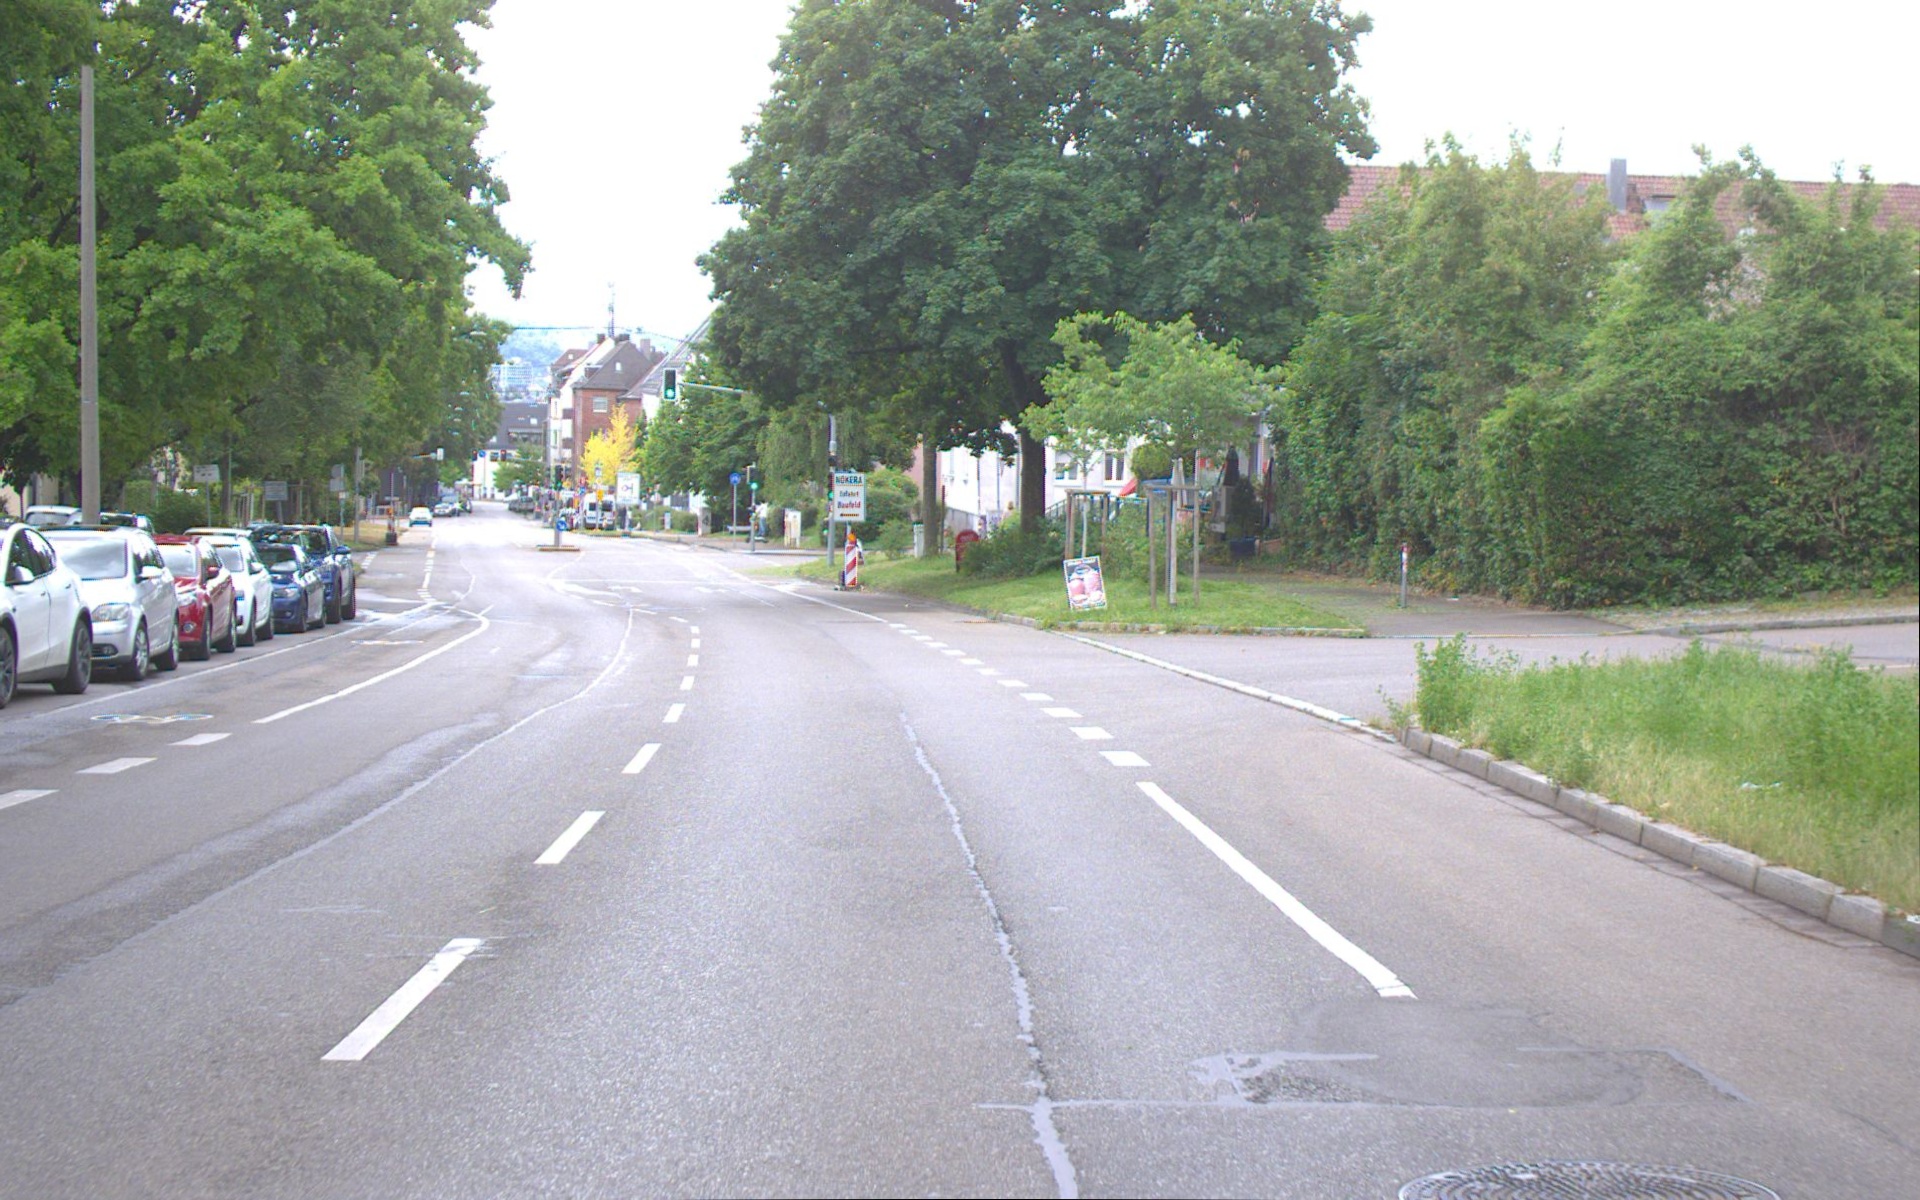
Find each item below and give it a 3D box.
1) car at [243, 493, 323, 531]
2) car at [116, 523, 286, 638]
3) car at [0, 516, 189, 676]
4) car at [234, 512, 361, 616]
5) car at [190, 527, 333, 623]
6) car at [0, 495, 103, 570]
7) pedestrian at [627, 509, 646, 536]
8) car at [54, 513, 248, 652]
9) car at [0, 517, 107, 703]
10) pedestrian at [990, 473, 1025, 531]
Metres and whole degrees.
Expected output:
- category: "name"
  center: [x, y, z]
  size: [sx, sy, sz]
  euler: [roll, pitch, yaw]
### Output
- category: "car"
  center: [-30.461, -3.953, 154.735]
  size: [3.448, 1.590, 2.001]
  euler: [1, 1, -9]
- category: "car"
  center: [-10.311, -0.294, 46.981]
  size: [1.715, 1.454, 4.758]
  euler: [1, 1, -6]
- category: "car"
  center: [-9.331, -0.078, 36.197]
  size: [1.868, 1.567, 4.121]
  euler: [1, 1, -6]
- category: "car"
  center: [-11.253, -0.644, 58.624]
  size: [1.715, 1.607, 4.536]
  euler: [1, 2, -6]
- category: "car"
  center: [-10.681, -0.409, 52.768]
  size: [1.715, 1.384, 4.339]
  euler: [1, 1, -6]
- category: "car"
  center: [-21.001, -1.570, 79.559]
  size: [1.761, 1.627, 4.289]
  euler: [1, 1, -7]
- category: "pedestrian"
  center: [-22.082, -5.313, 234.760]
  size: [1.200, 1.804, 1.301]
  euler: [1, 1, -7]
- category: "car"
  center: [-9.778, -0.241, 41.832]
  size: [1.715, 1.567, 4.372]
  euler: [1, 1, -6]
- category: "car"
  center: [-9.051, 0.058, 30.756]
  size: [1.767, 1.567, 4.760]
  euler: [0, 1, -2]
- category: "pedestrian"
  center: [1.539, -3.170, 111.470]
  size: [0.747, 1.848, 0.955]
  euler: [-3, 3, -22]
